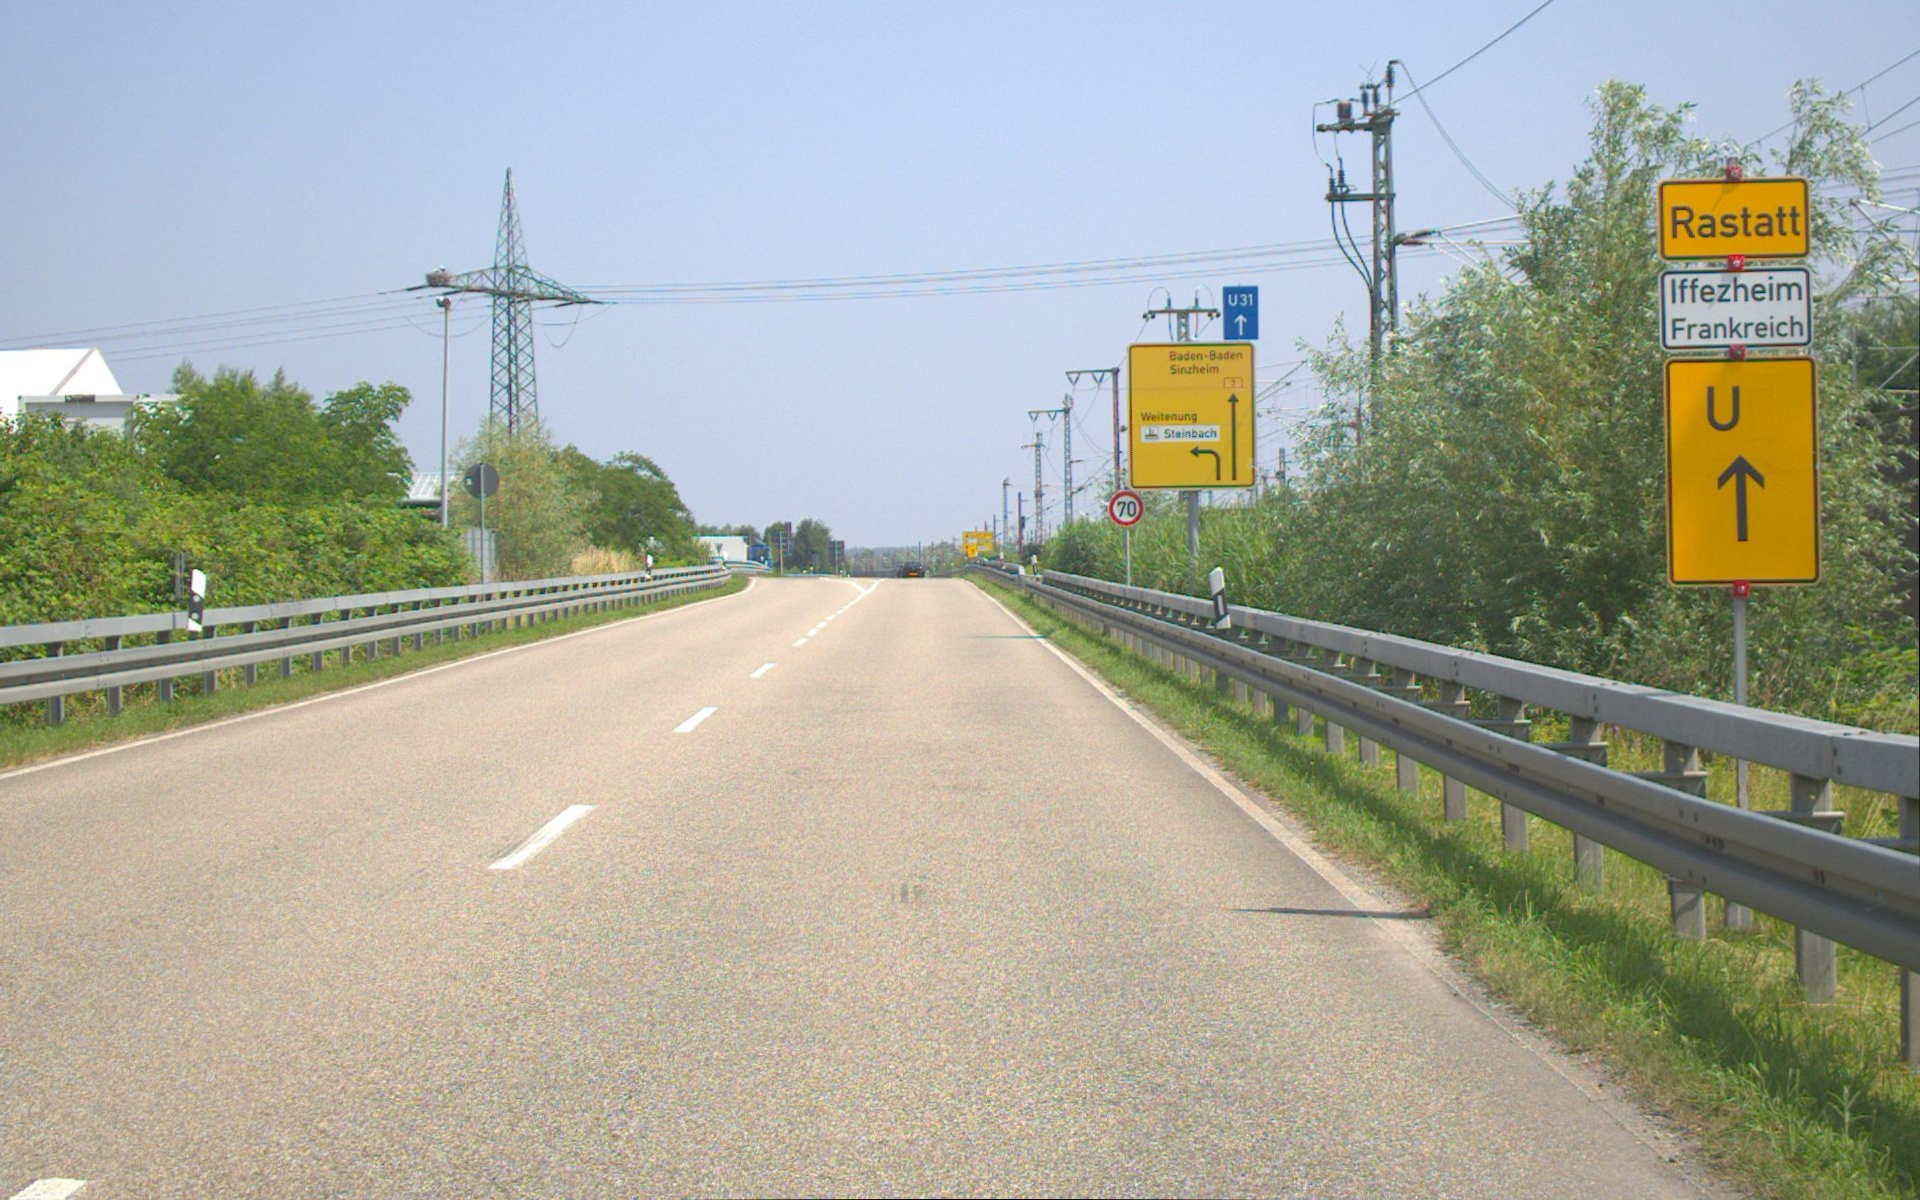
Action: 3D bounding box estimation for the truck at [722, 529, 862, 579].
[{"bbox_3d":[-12.617,-3.472,258.443,10.411,3.619,2.845,1,1,-3],"label":"truck"}]

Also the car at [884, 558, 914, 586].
[{"bbox_3d":[-4.554,-2.066,254.764,1.993,2.007,4.001,0,1,-4],"label":"car"}]

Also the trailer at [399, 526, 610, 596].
[{"bbox_3d":[-12.229,-1.060,92.548,5.386,1.842,2.544,0,1,-1],"label":"trailer"}]
